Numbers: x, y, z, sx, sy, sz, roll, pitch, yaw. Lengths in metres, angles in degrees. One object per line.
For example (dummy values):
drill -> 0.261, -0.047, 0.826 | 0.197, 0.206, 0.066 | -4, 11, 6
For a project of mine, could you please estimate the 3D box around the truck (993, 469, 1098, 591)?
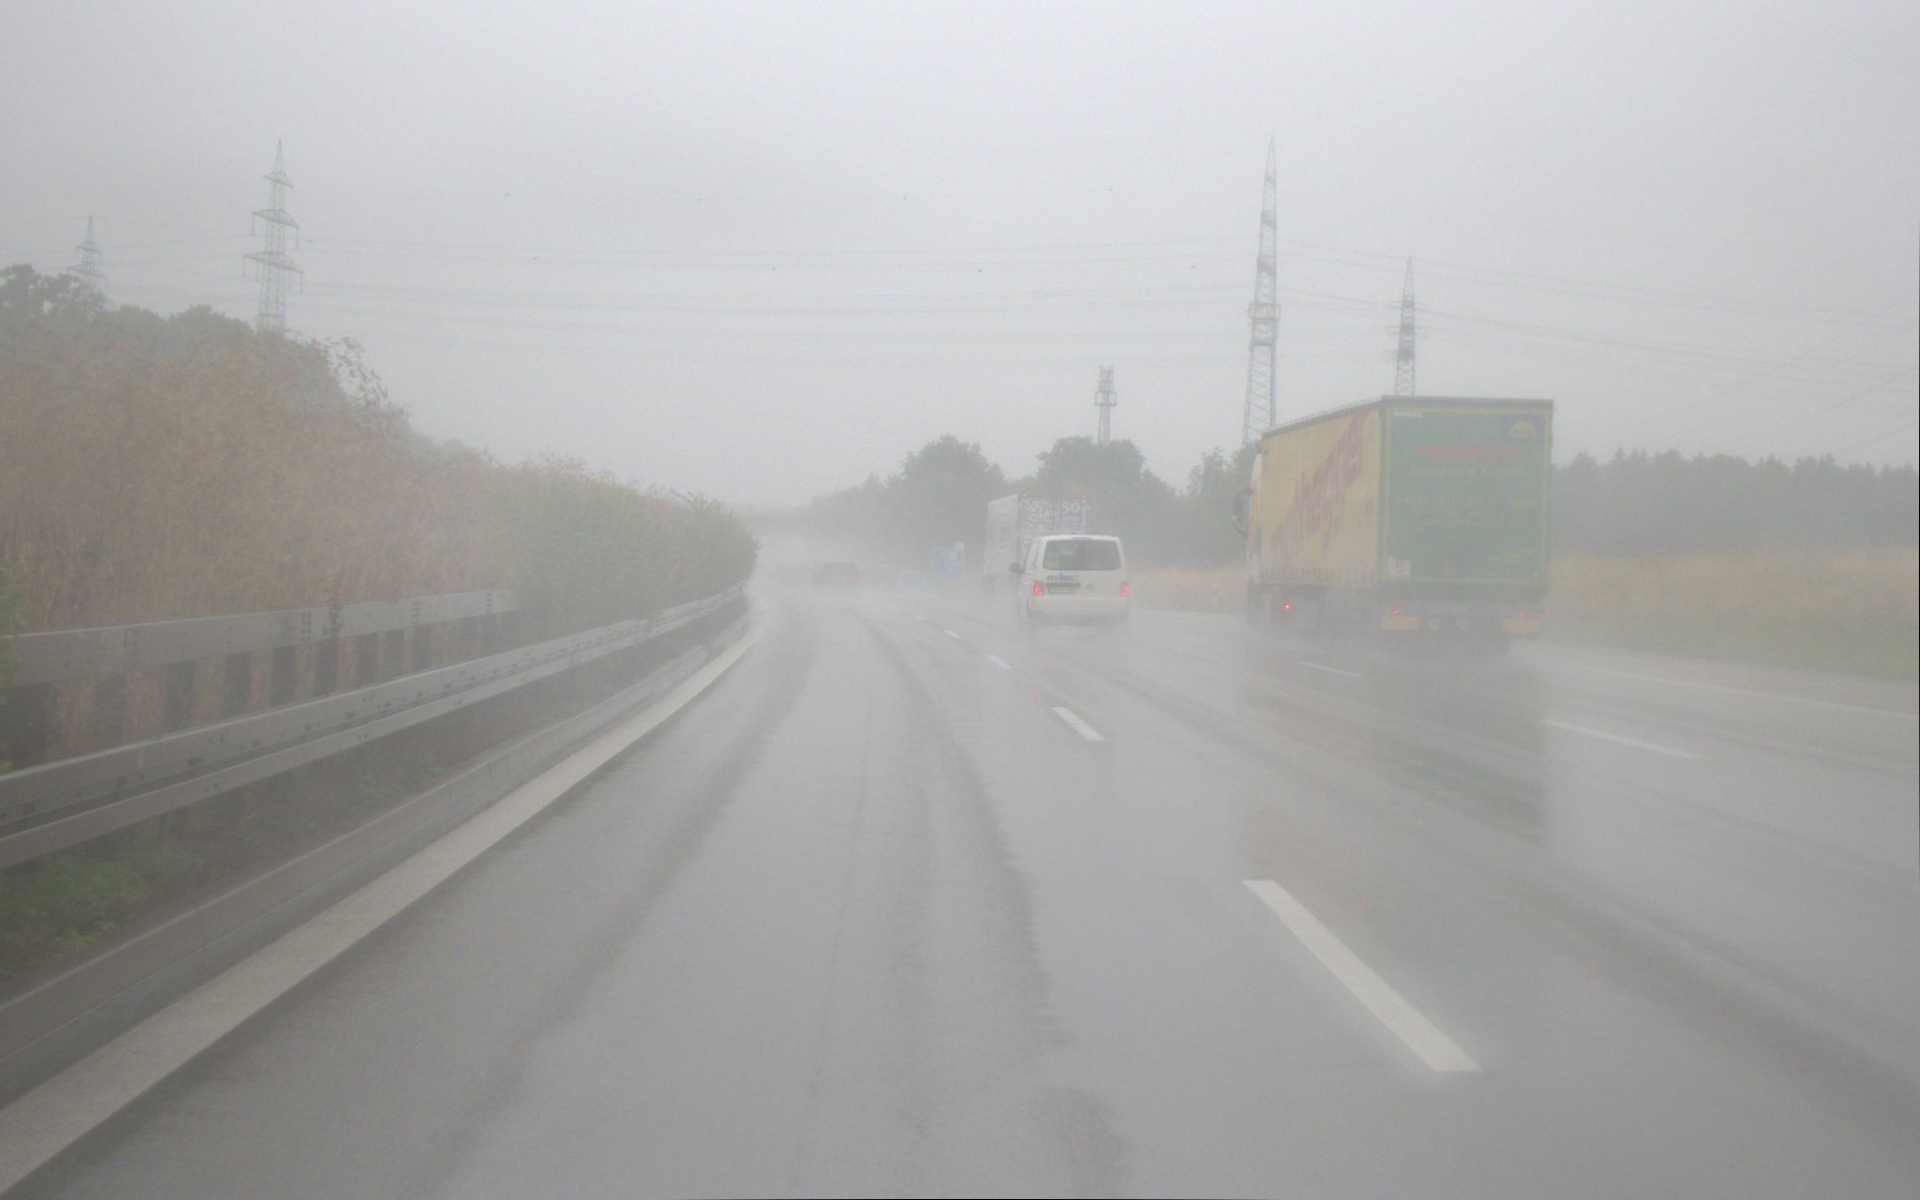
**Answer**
truck -> 3.084, -2.602, 127.245 | 3.232, 4.296, 8.838 | 1, 1, -2

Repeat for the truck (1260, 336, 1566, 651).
truck -> 7.420, -1.698, 59.097 | 4.190, 4.614, 16.103 | 1, 1, 4

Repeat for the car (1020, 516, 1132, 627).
car -> 2.231, -0.567, 65.129 | 1.994, 2.007, 4.000 | 1, 1, 3
